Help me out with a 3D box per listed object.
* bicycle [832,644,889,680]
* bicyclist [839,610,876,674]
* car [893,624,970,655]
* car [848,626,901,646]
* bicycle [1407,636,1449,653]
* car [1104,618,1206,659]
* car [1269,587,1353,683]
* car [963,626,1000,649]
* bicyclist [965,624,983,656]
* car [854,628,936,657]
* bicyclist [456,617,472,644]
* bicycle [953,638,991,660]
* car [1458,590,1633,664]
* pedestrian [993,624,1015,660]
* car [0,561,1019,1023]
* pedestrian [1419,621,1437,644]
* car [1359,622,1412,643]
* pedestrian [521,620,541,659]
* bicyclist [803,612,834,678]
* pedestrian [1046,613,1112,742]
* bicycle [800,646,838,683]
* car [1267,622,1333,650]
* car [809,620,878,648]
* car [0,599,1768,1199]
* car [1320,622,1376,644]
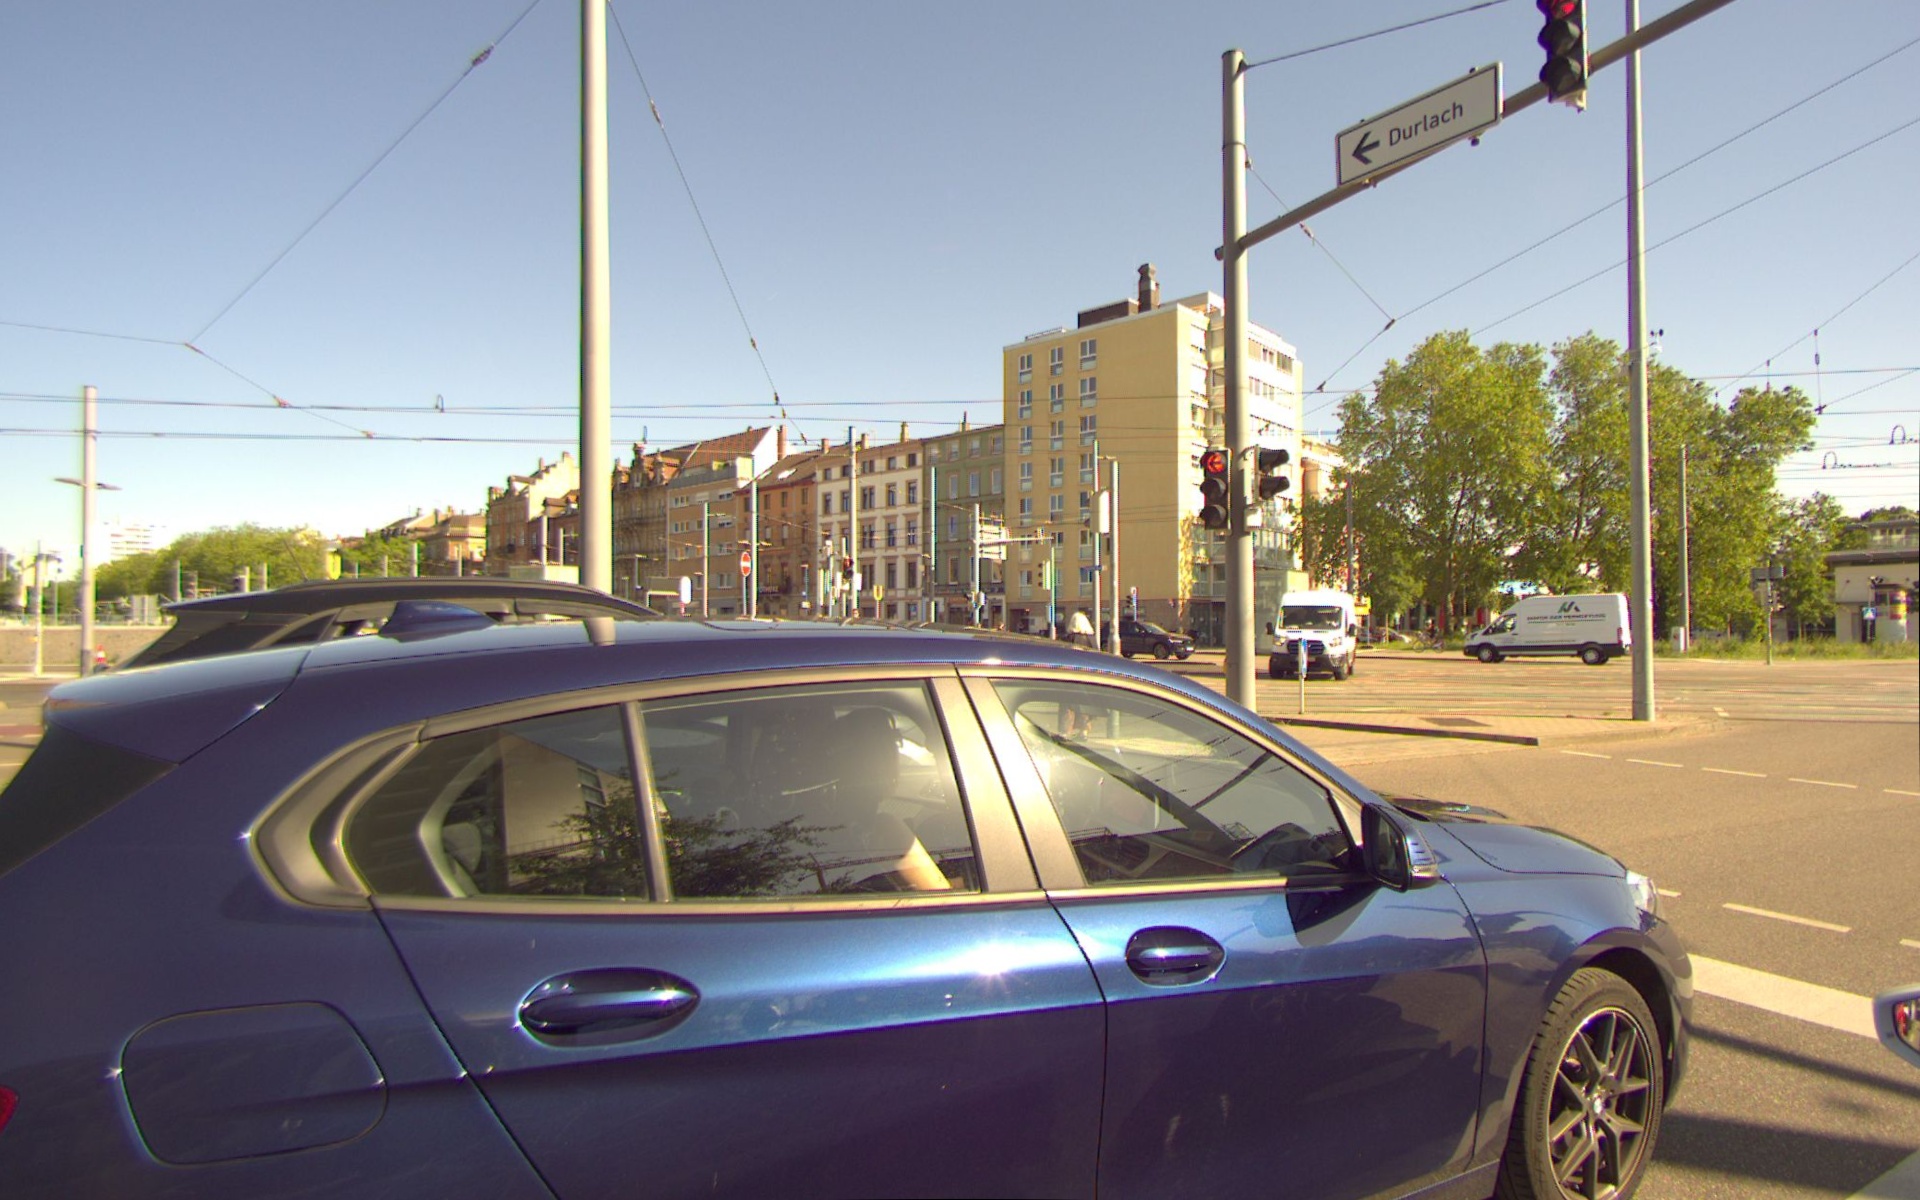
[{"bbox_3d":[-2.660,1.621,26.585,0.672,0.890,1.880,1,-2,-35],"label":"bicycle"},{"bbox_3d":[-2.727,1.114,26.722,0.672,1.676,0.777,1,-1,-35],"label":"bicyclist"},{"bbox_3d":[-1.609,2.194,56.422,4.246,1.675,1.848,-1,-2,42],"label":"car"},{"bbox_3d":[-6.302,2.648,74.432,1.749,1.446,3.863,-1,-2,39],"label":"car"},{"bbox_3d":[25.044,2.374,53.773,1.982,0.925,0.559,-1,-2,41],"label":"bicycle"},{"bbox_3d":[8.356,1.651,43.295,1.858,1.681,4.019,1,-2,-44],"label":"car"},{"bbox_3d":[10.296,0.996,29.230,1.962,2.541,5.417,0,-2,23],"label":"car"},{"bbox_3d":[1.379,2.490,67.005,1.745,1.446,3.873,0,-2,-10],"label":"car"},{"bbox_3d":[0.638,1.841,46.292,0.609,1.462,0.614,1,-1,-30],"label":"bicyclist"},{"bbox_3d":[-3.570,2.265,54.379,4.502,1.521,1.855,-1,-2,42],"label":"car"},{"bbox_3d":[-27.445,1.690,55.617,0.672,1.474,0.777,1,-1,-35],"label":"bicyclist"},{"bbox_3d":[0.551,2.248,46.226,1.666,0.958,0.614,1,-1,-30],"label":"bicycle"},{"bbox_3d":[23.658,1.101,40.735,5.838,2.780,2.133,-1,-2,42],"label":"car"},{"bbox_3d":[2.004,1.874,45.262,0.669,1.593,0.740,1,-2,-45],"label":"pedestrian"},{"bbox_3d":[-1.844,0.676,5.061,3.959,1.537,1.751,1,-1,-28],"label":"car"},{"bbox_3d":[25.056,1.739,53.772,0.785,1.220,0.557,-1,-2,41],"label":"pedestrian"},{"bbox_3d":[34.795,2.644,82.183,3.691,1.684,1.586,-1,-2,42],"label":"car"},{"bbox_3d":[-19.422,1.778,45.481,0.672,1.735,0.793,1,-1,-38],"label":"pedestrian"},{"bbox_3d":[-3.693,1.167,26.140,0.668,1.676,0.782,0,-1,-18],"label":"bicyclist"},{"bbox_3d":[1.496,0.959,12.612,0.749,1.575,0.356,0,-1,-20],"label":"pedestrian"},{"bbox_3d":[-3.680,1.661,26.109,0.668,0.890,1.891,0,-2,-18],"label":"bicycle"},{"bbox_3d":[21.519,2.262,63.639,3.691,1.684,1.586,-1,-2,42],"label":"car"},{"bbox_3d":[-7.200,2.063,62.086,4.244,1.675,1.849,-1,-2,40],"label":"car"},{"bbox_3d":[0.094,0.776,2.533,3.984,1.464,1.703,1,0,-30],"label":"car"},{"bbox_3d":[29.809,2.508,77.148,3.691,1.684,1.586,-1,-2,42],"label":"car"}]
